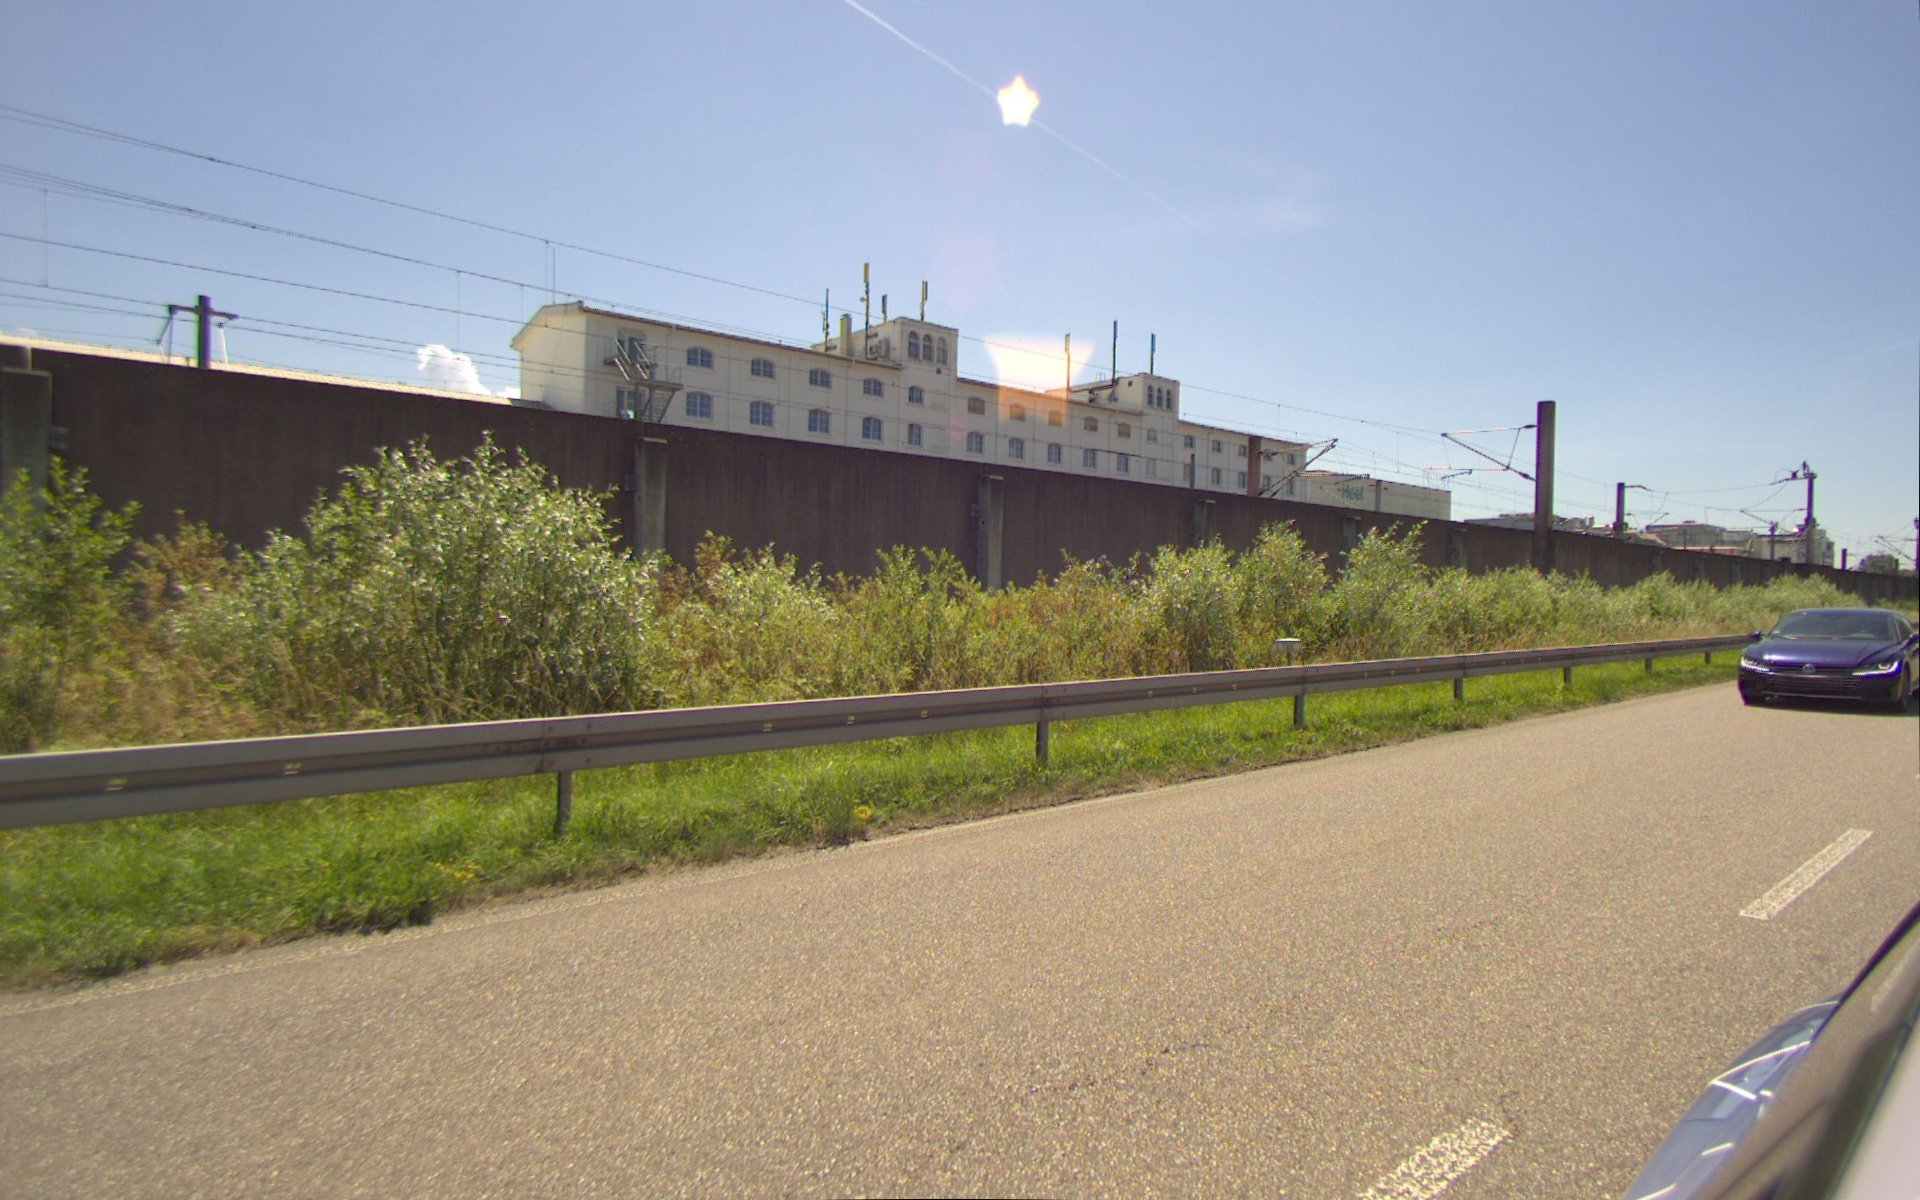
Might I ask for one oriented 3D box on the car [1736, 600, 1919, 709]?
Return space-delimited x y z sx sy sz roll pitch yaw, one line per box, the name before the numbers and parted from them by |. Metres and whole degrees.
car | 13.402 0.705 15.179 4.423 1.397 1.860 0 0 -40
